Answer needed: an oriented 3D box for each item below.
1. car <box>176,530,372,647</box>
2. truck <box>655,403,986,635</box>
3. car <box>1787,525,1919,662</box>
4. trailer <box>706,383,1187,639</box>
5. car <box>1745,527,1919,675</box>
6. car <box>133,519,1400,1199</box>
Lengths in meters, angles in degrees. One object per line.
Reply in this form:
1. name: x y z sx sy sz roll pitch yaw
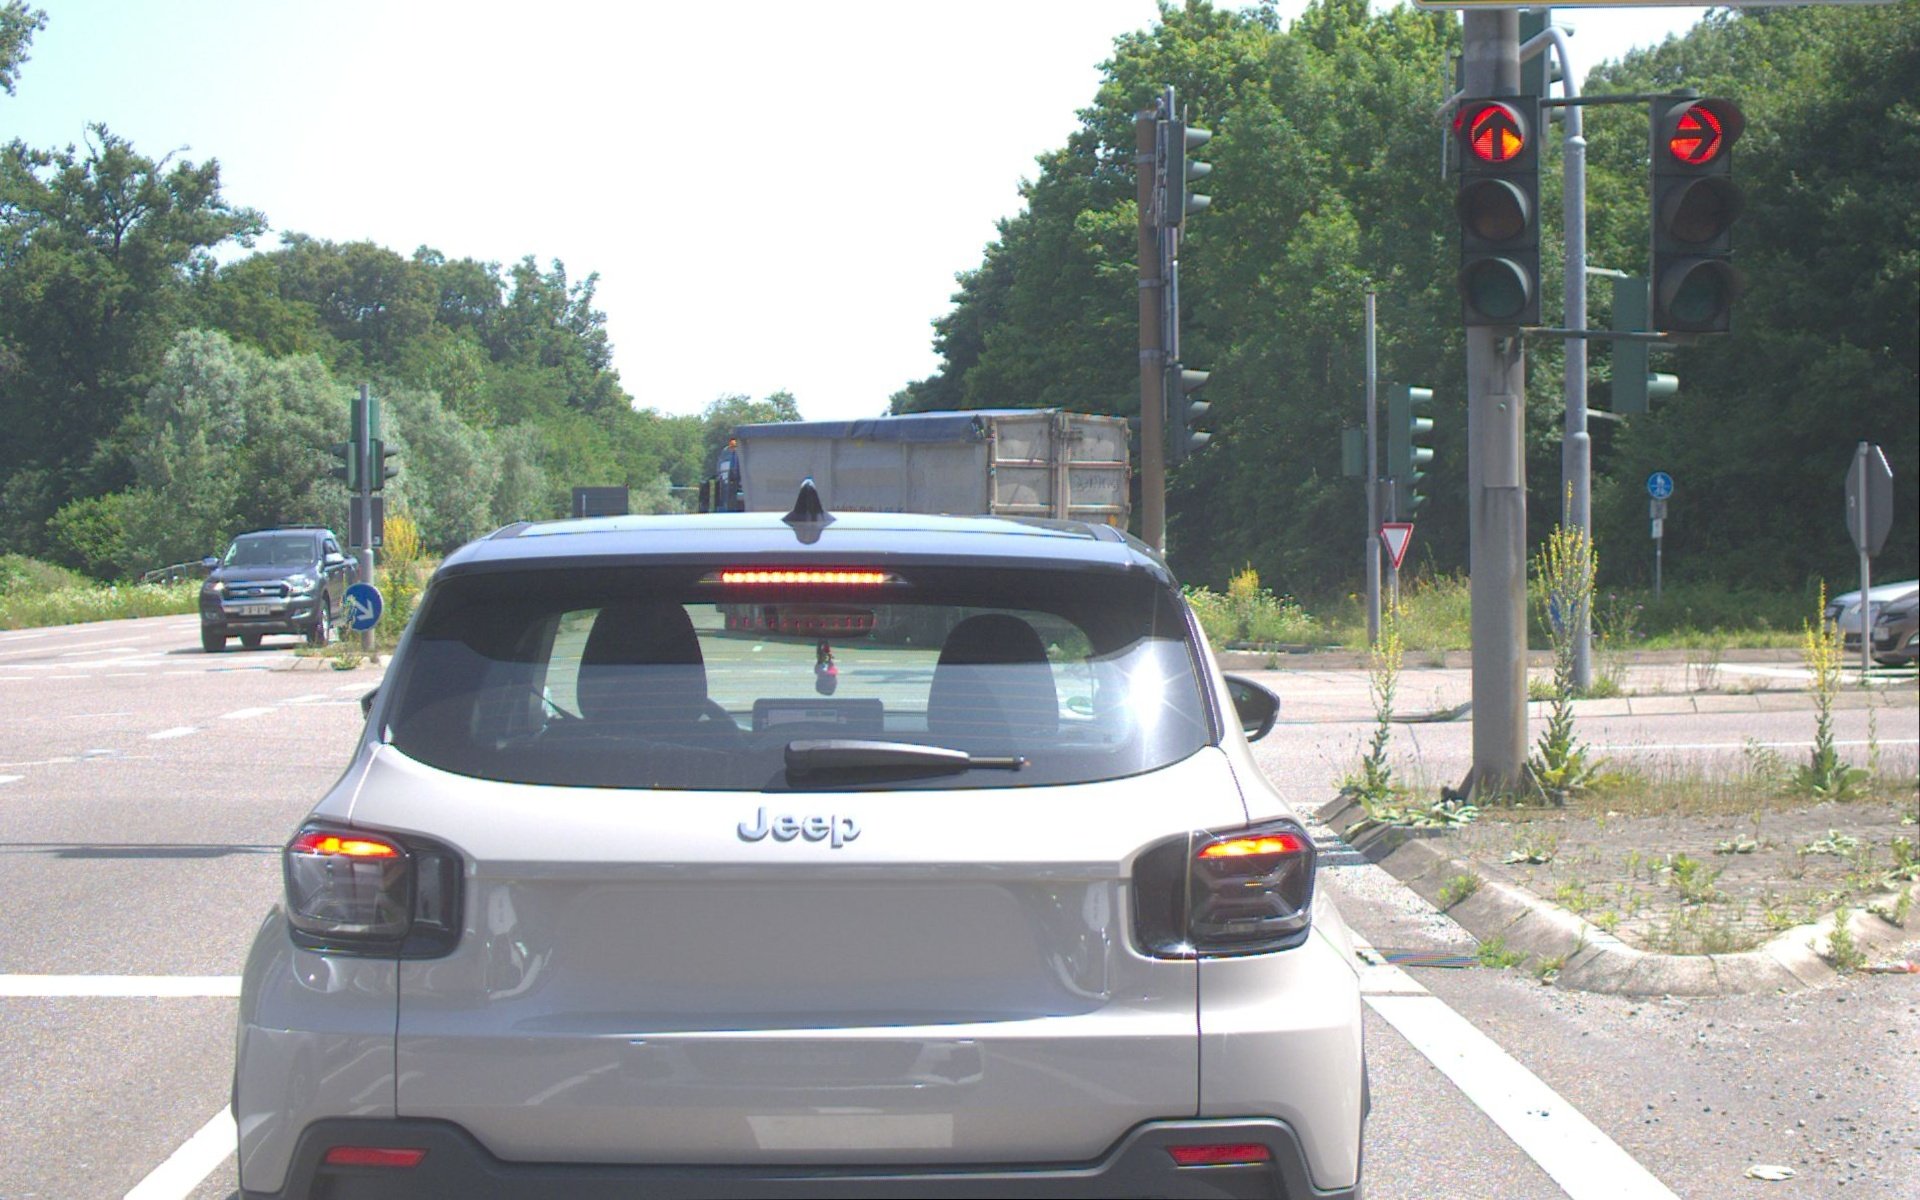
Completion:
1. car: -10.622 -0.220 53.654 1.993 1.672 5.366 -2 1 -1
2. truck: -2.646 -1.439 62.777 3.332 3.975 6.534 1 1 -30
3. car: 12.062 -0.101 38.845 4.932 1.493 2.020 -1 0 0
4. trailer: -0.503 -1.462 59.024 3.382 3.975 10.805 1 1 -29
5. car: 10.358 -0.031 35.229 4.091 1.442 1.996 -1 1 -3
6. car: -0.293 0.619 6.807 1.767 1.529 4.000 0 1 -1
